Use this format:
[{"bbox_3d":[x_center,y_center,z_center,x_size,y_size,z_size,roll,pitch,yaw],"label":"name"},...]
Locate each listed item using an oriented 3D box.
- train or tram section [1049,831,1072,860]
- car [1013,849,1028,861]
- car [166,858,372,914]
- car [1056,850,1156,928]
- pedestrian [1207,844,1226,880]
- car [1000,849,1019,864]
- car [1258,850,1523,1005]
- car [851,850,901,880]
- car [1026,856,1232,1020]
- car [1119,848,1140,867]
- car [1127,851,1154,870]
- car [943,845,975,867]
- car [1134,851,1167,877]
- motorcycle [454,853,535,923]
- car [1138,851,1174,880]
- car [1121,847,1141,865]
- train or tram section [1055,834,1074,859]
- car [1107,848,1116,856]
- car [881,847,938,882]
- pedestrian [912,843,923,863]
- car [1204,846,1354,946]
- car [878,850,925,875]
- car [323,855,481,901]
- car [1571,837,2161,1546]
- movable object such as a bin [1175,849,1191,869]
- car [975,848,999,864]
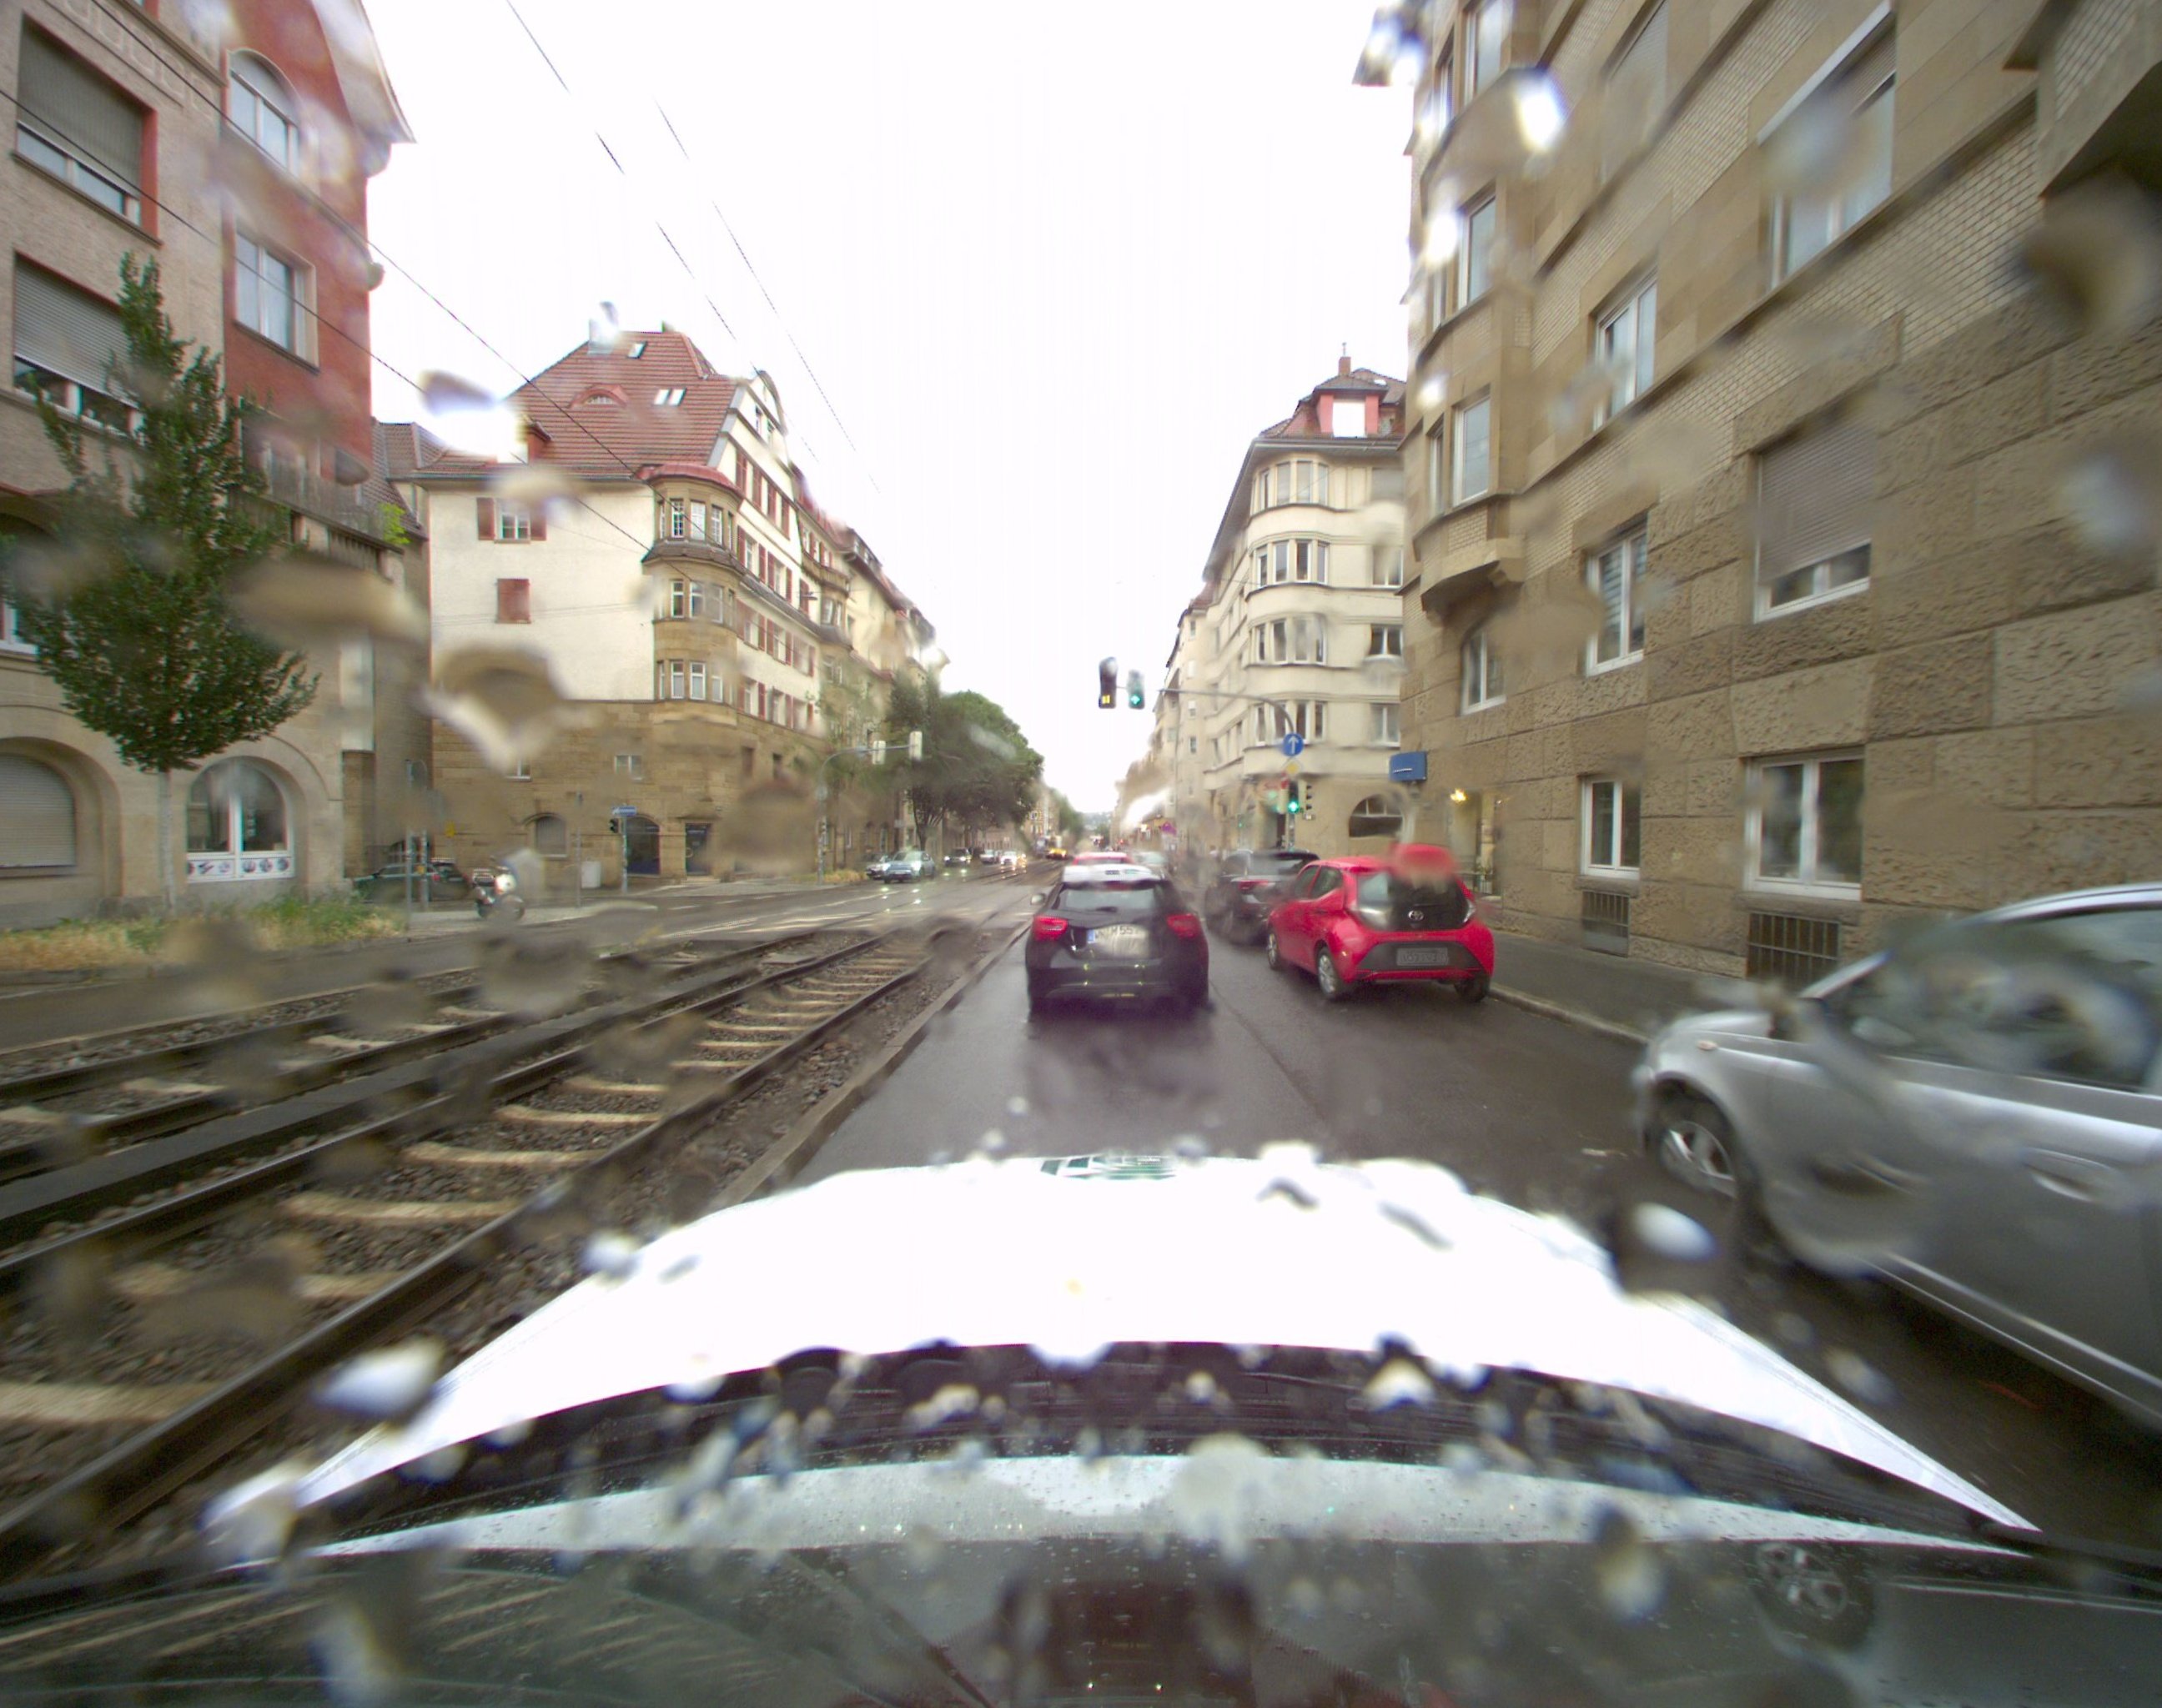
[{"bbox_3d":[-3.072,-1.271,125.192,2.736,4.061,17.216,-1,0,1],"label":"train or tram section"},{"bbox_3d":[-7.683,0.115,103.590,1.649,1.462,3.731,-1,0,-3],"label":"car"},{"bbox_3d":[-22.512,0.877,22.685,3.972,1.467,1.747,-1,-1,1],"label":"car"},{"bbox_3d":[0.563,0.689,18.281,1.986,1.525,4.247,1,0,2],"label":"car"},{"bbox_3d":[6.596,0.390,39.555,0.801,1.687,0.754,0,-1,1],"label":"pedestrian"},{"bbox_3d":[-7.449,0.304,84.783,1.777,1.502,4.058,0,0,-3],"label":"car"},{"bbox_3d":[3.298,0.693,9.435,1.700,1.453,3.531,1,0,-1],"label":"car"},{"bbox_3d":[-11.256,0.599,44.992,1.684,1.529,4.175,0,0,0],"label":"car"},{"bbox_3d":[0.487,0.756,9.215,1.828,1.453,3.903,0,0,2],"label":"car"},{"bbox_3d":[4.436,0.335,73.586,1.833,1.608,4.765,-1,0,4],"label":"car"},{"bbox_3d":[4.418,0.474,60.881,1.783,1.385,4.396,-1,0,1],"label":"car"},{"bbox_3d":[-10.624,0.143,71.325,1.946,1.742,4.778,3,1,0],"label":"car"},{"bbox_3d":[4.051,0.563,47.925,1.705,1.468,4.775,-1,0,2],"label":"car"},{"bbox_3d":[-12.066,0.670,16.741,1.761,1.375,0.772,-1,-1,33],"label":"motorcycle"},{"bbox_3d":[3.853,0.568,42.559,1.703,1.410,4.821,-1,0,3],"label":"car"},{"bbox_3d":[4.868,0.218,79.641,1.771,1.750,4.551,-1,0,2],"label":"car"},{"bbox_3d":[-2.703,-1.301,141.475,2.736,4.061,15.663,-1,0,1],"label":"train or tram section"},{"bbox_3d":[6.522,-0.409,172.443,1.879,1.525,4.249,1,0,3],"label":"car"},{"bbox_3d":[-8.412,0.502,40.218,1.915,1.617,4.128,0,0,0],"label":"car"},{"bbox_3d":[-14.025,-0.103,69.816,0.726,1.663,0.771,0,0,1],"label":"pedestrian"},{"bbox_3d":[3.392,0.656,14.710,1.860,1.549,3.992,1,0,2],"label":"car"},{"bbox_3d":[-11.061,0.521,50.548,1.775,1.460,4.978,0,0,0],"label":"car"},{"bbox_3d":[-24.504,0.849,29.506,3.977,1.574,1.998,0,-1,-2],"label":"car"},{"bbox_3d":[3.067,0.696,2.085,1.588,1.487,3.524,-1,0,2],"label":"car"},{"bbox_3d":[7.342,0.359,58.678,0.976,1.468,1.273,0,-1,1],"label":"movable object such as a bin"},{"bbox_3d":[-10.208,0.217,88.634,1.954,1.605,4.329,1,1,1],"label":"car"}]
